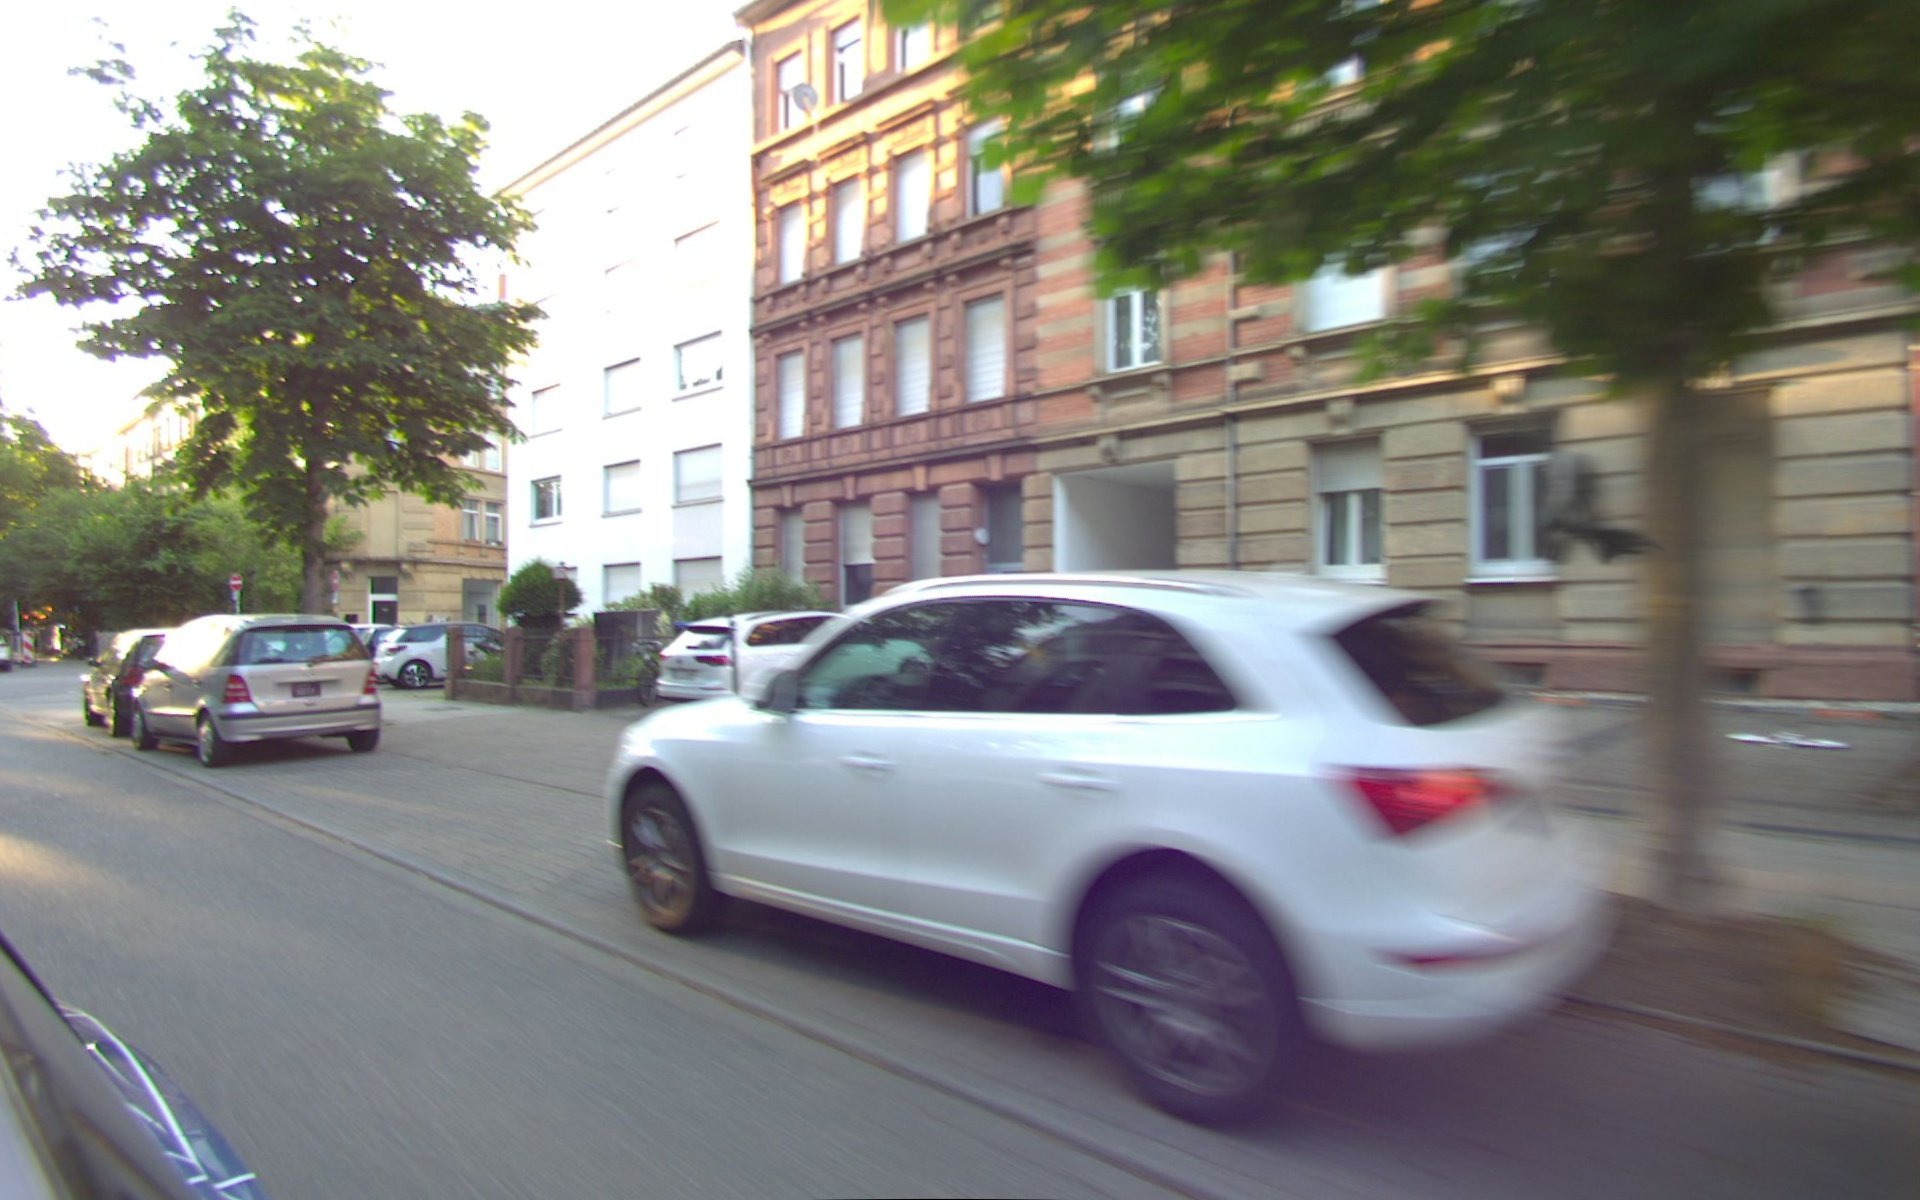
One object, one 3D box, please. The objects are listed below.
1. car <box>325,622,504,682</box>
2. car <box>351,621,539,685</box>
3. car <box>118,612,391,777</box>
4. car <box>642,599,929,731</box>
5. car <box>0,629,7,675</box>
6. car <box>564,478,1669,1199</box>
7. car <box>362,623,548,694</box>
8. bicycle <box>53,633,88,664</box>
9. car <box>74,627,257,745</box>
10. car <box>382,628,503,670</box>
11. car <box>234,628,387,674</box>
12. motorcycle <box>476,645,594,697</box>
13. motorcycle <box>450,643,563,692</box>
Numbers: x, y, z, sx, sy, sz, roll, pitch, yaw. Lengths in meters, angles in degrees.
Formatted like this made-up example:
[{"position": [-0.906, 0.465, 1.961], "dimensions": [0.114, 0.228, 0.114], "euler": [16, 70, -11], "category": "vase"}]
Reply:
[{"position": [-14.835, 1.389, 27.618], "dimensions": [4.041, 1.458, 1.712], "euler": [0, -2, -40], "category": "car"}, {"position": [-13.265, 1.332, 26.151], "dimensions": [4.040, 1.458, 1.821], "euler": [0, -2, -39], "category": "car"}, {"position": [-8.254, 0.988, 11.737], "dimensions": [3.739, 1.615, 1.580], "euler": [-2, -2, 38], "category": "car"}, {"position": [-2.463, 0.857, 15.143], "dimensions": [1.707, 1.539, 4.052], "euler": [-2, 1, 40], "category": "car"}, {"position": [-34.078, 1.841, 34.580], "dimensions": [4.735, 1.513, 1.672], "euler": [-2, 0, 41], "category": "car"}, {"position": [0.267, 0.663, 4.417], "dimensions": [4.425, 1.730, 1.901], "euler": [-2, -2, 41], "category": "car"}, {"position": [-11.601, 1.300, 23.323], "dimensions": [3.519, 1.458, 1.820], "euler": [0, -2, -40], "category": "car"}, {"position": [-39.034, 2.120, 44.418], "dimensions": [0.597, 1.294, 2.493], "euler": [1, -2, -29], "category": "bicycle"}, {"position": [-11.793, 1.175, 14.937], "dimensions": [3.962, 1.482, 1.598], "euler": [-2, -2, 44], "category": "car"}, {"position": [-20.869, 1.925, 40.954], "dimensions": [1.702, 1.564, 4.064], "euler": [1, -1, 30], "category": "car"}, {"position": [-23.515, 1.828, 36.831], "dimensions": [1.703, 1.564, 4.419], "euler": [-3, -3, 31], "category": "car"}, {"position": [-8.860, 1.460, 21.160], "dimensions": [2.207, 0.965, 0.588], "euler": [0, -2, -40], "category": "motorcycle"}, {"position": [-10.127, 1.487, 22.655], "dimensions": [2.208, 0.965, 0.588], "euler": [-1, -1, -40], "category": "motorcycle"}]
